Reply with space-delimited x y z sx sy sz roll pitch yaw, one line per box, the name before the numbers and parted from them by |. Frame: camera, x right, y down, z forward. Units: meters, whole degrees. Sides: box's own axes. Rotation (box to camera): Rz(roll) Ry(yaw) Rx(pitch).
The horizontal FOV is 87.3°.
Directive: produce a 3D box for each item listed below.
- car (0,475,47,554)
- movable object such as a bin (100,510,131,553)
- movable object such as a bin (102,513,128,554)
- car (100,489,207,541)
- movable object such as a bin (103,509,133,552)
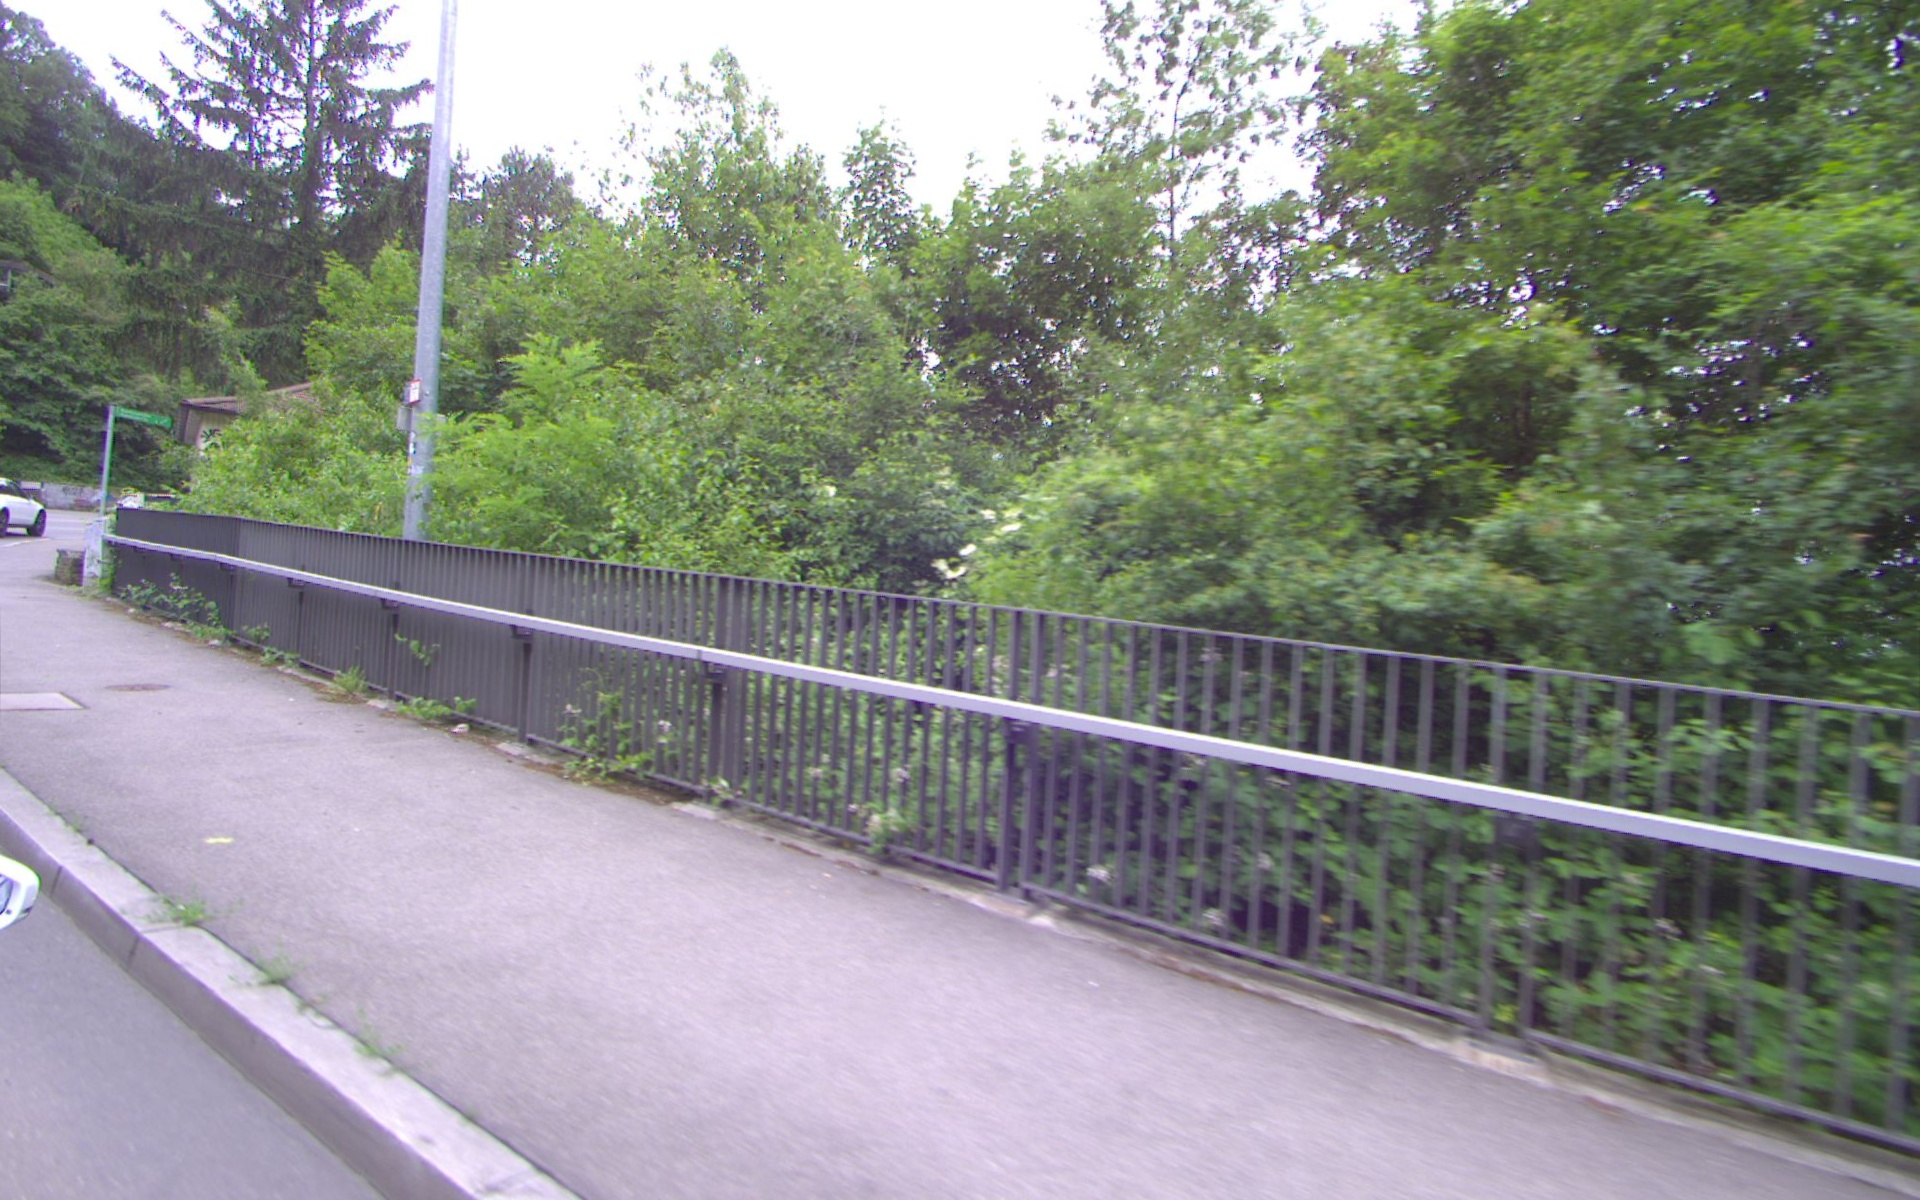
car | -27.509 -2.487 28.033 1.978 1.862 4.125 8 -5 -29
movable object such as a bin | -22.385 -1.819 26.679 0.599 1.076 0.474 1 6 -36
movable object such as a bin | -22.039 -1.742 26.238 0.496 1.023 0.435 1 6 -36
car | -36.830 -3.834 46.090 1.717 1.535 4.310 7 -5 -9
movable object such as a bin | -22.715 -1.872 27.141 0.599 1.076 0.474 1 6 -36
